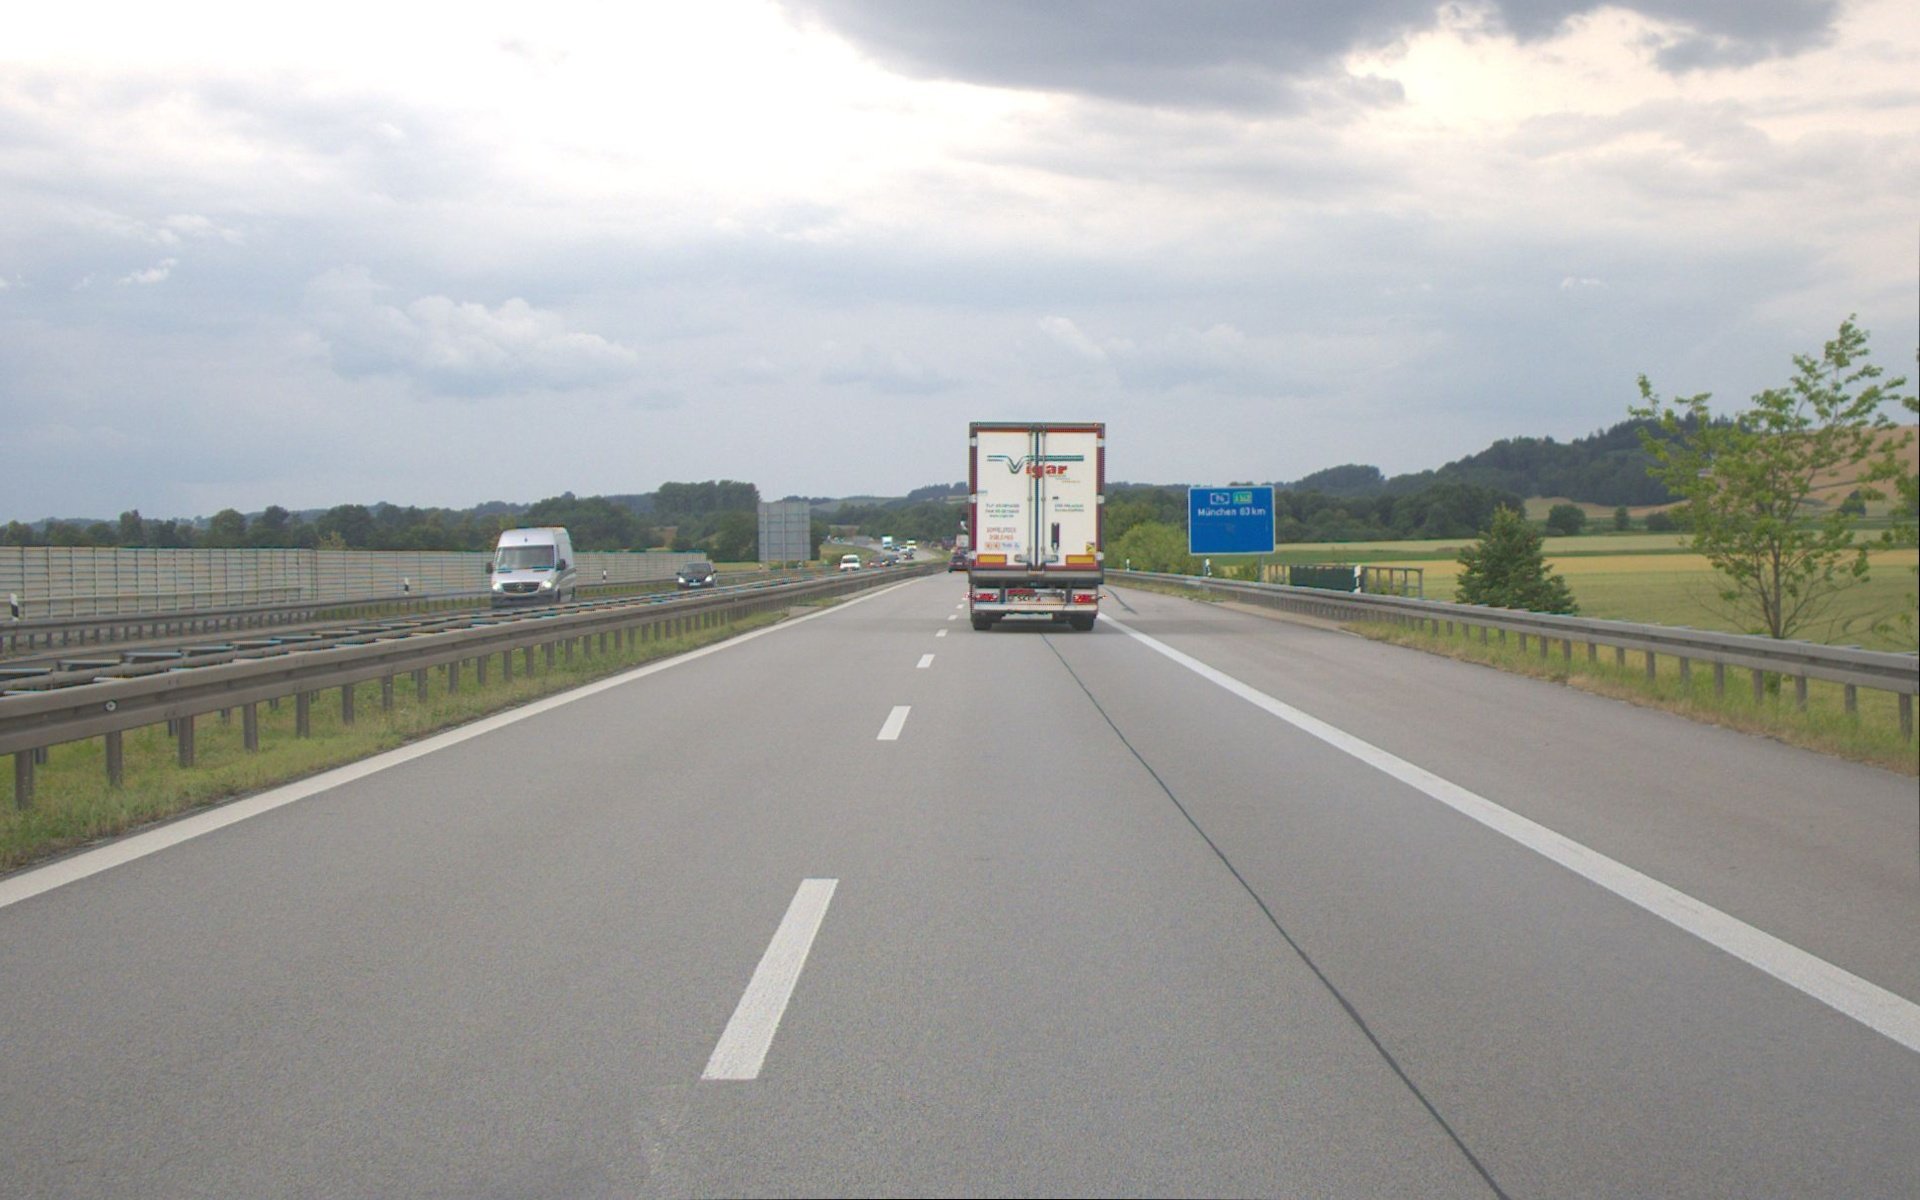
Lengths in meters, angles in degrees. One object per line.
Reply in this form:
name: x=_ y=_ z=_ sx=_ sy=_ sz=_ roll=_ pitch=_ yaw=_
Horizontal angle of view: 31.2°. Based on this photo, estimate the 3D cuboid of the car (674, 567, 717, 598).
car: x=-12.340 y=-0.836 z=160.642 sx=1.670 sy=1.381 sz=4.000 roll=-2 pitch=1 yaw=0

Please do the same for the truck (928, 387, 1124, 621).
truck: x=1.173 y=-1.939 z=73.143 sx=3.672 sy=4.397 sz=16.342 roll=0 pitch=1 yaw=-1

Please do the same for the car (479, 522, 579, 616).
car: x=-12.863 y=-0.929 z=103.023 sx=2.070 sy=2.594 sz=6.289 roll=-3 pitch=0 yaw=0
